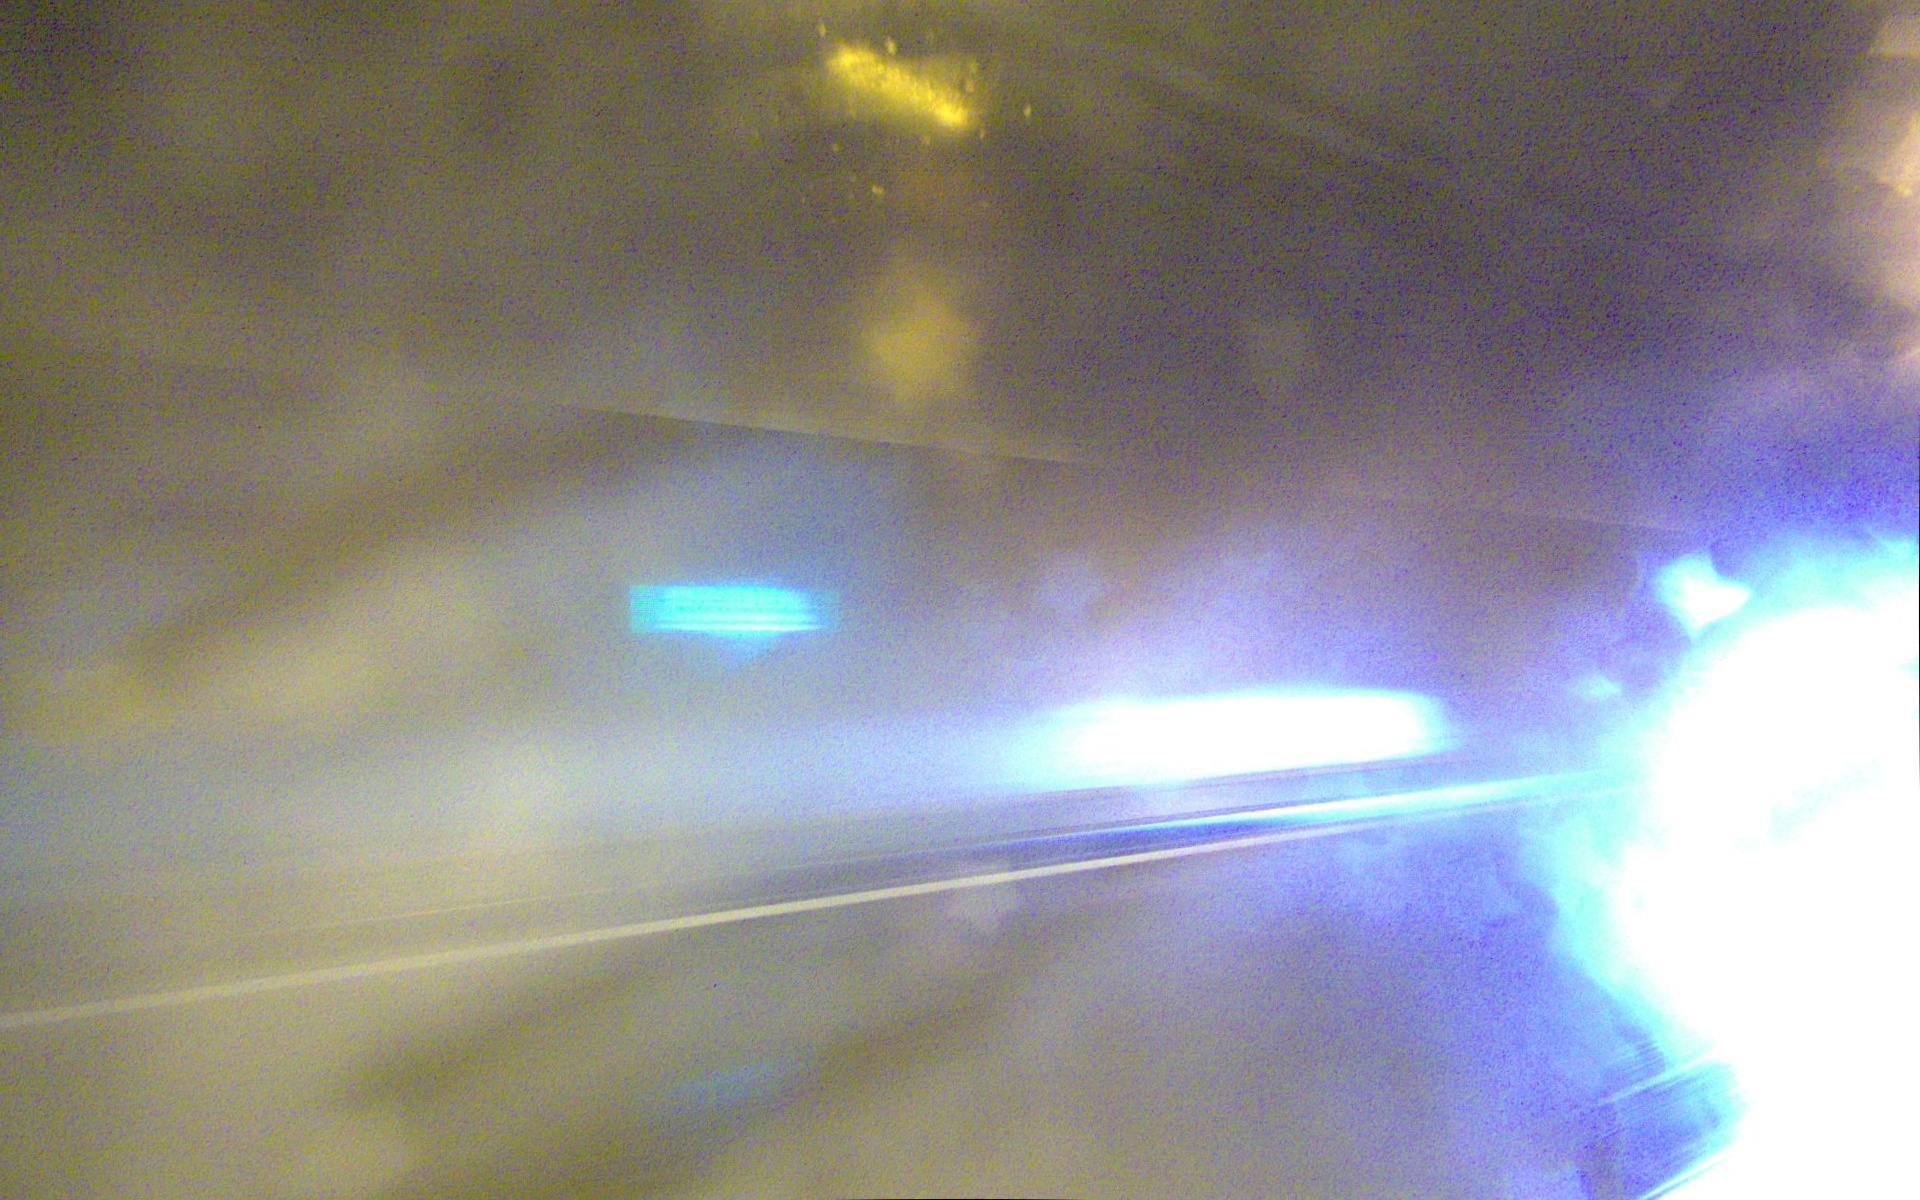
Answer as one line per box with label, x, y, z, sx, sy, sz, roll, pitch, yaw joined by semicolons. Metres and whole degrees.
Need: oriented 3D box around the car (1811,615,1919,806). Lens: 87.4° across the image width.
car;9.833;0.980;9.337;3.953;1.605;1.740;2;-1;-31
